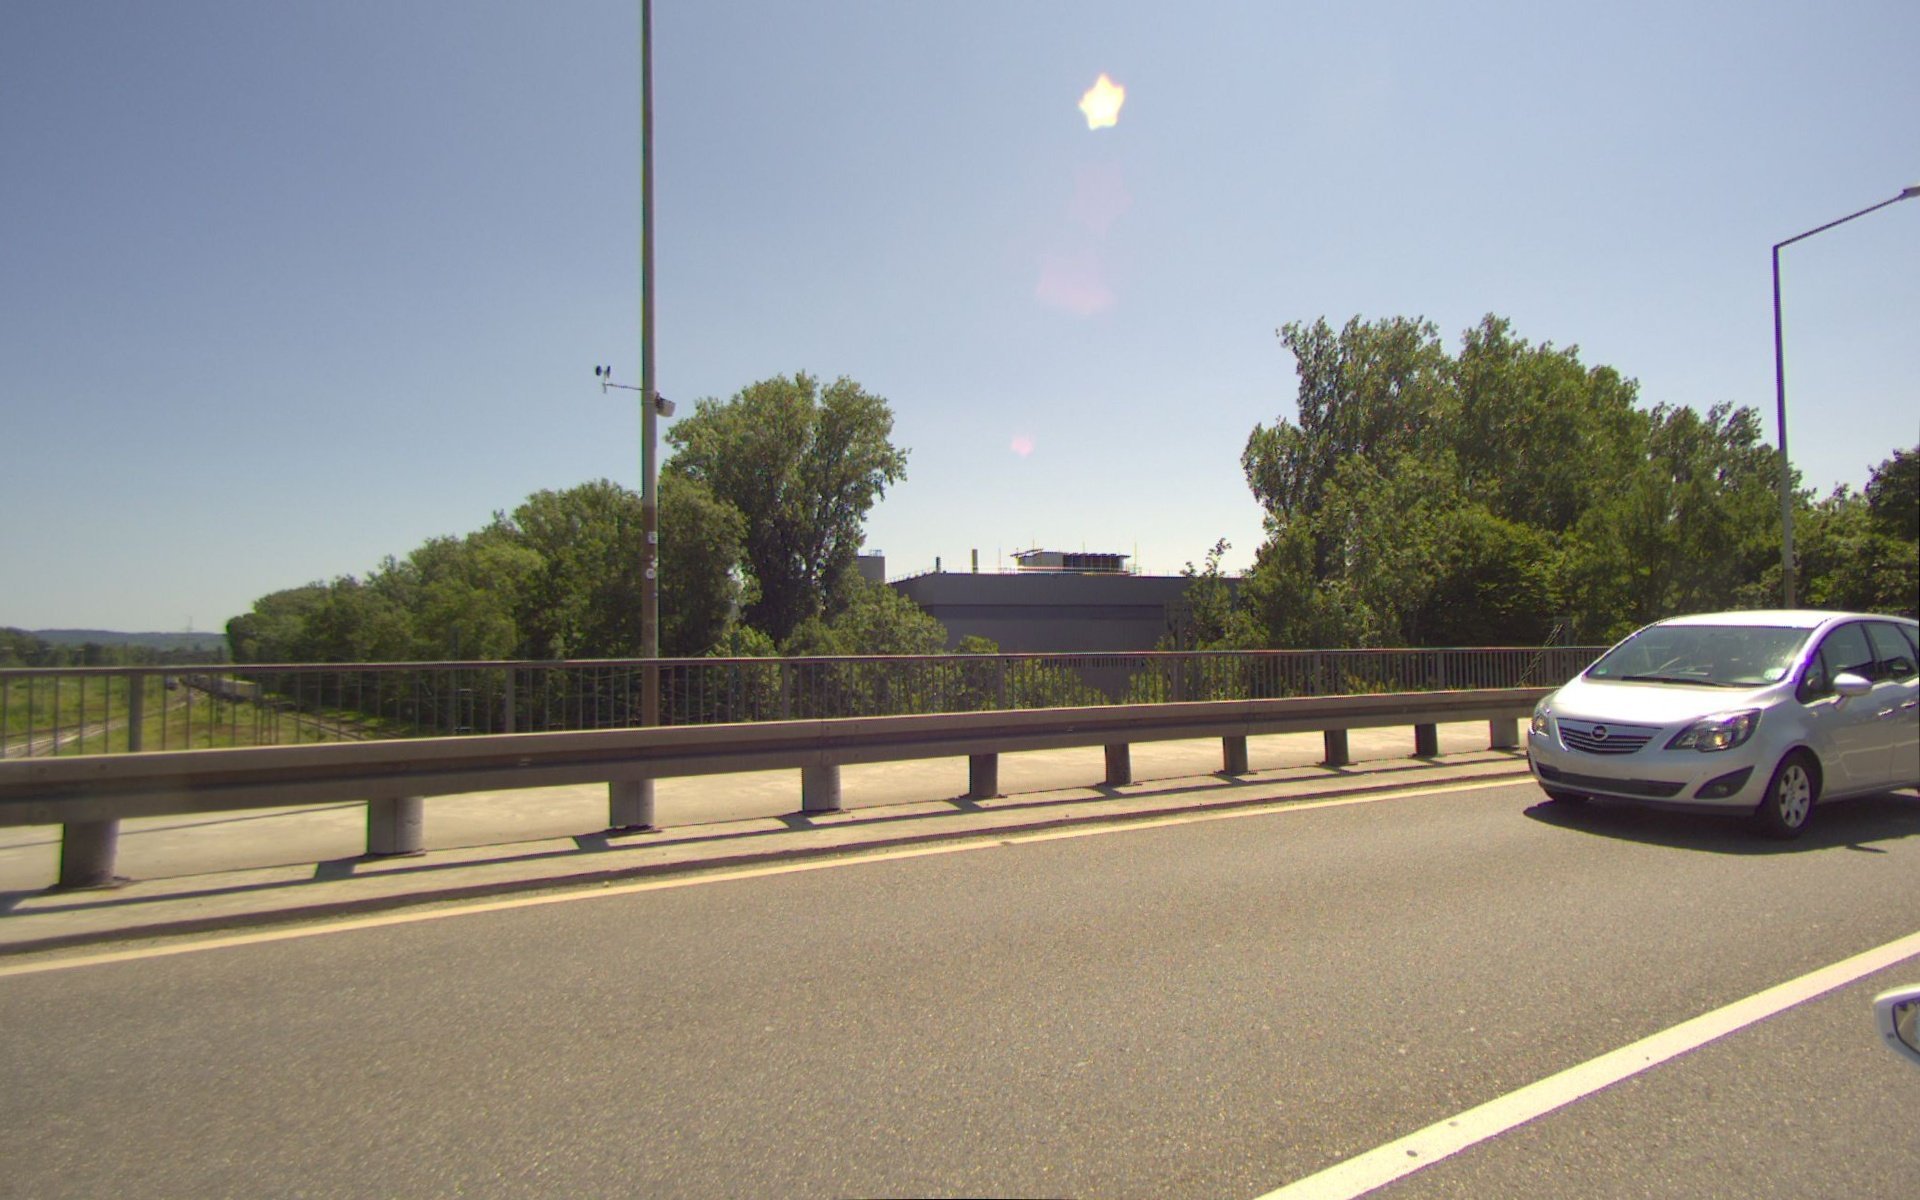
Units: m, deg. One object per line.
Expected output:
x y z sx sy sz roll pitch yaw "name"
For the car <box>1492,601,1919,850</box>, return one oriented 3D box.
6.475 0.859 8.184 4.122 1.601 1.731 1 -1 -27 "car"
